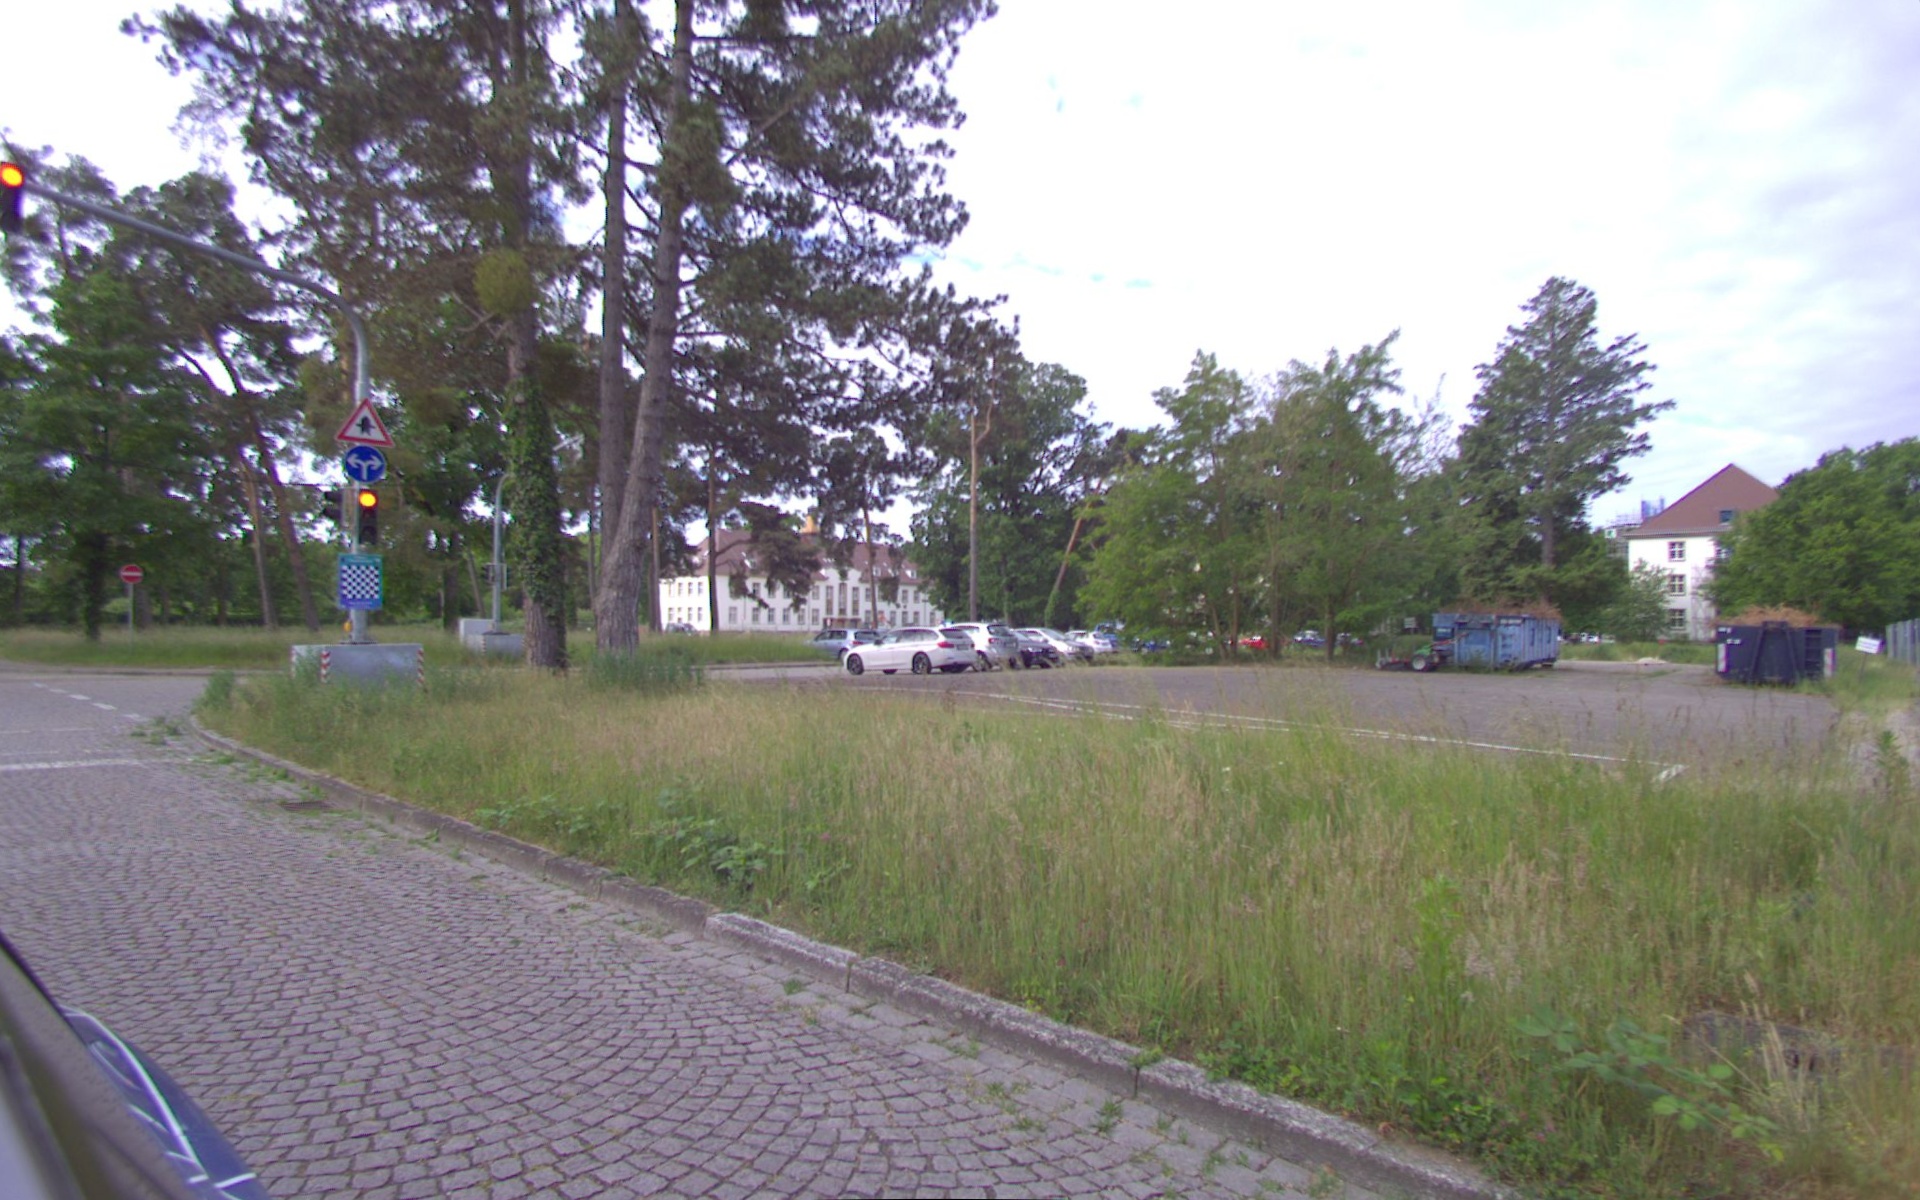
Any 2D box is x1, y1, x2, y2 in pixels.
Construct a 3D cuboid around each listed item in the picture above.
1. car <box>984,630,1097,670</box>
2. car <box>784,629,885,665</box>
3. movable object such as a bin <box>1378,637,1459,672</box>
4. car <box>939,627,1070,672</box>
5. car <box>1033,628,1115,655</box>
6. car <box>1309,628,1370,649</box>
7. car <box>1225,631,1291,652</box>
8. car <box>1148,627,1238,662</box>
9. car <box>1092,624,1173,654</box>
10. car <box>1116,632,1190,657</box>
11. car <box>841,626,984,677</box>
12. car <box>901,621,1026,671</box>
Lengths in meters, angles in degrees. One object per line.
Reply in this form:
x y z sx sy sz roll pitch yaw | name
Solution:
2.958 1.836 37.636 4.033 1.410 1.616 -1 -2 39 | car
-5.490 2.013 44.026 4.398 1.486 1.806 -1 -2 39 | car
13.515 1.586 29.802 1.953 0.976 1.431 -1 -2 34 | movable object such as a bin
1.502 1.675 35.241 4.398 1.486 1.806 -1 -2 39 | car
6.465 2.326 57.752 4.395 1.486 1.807 -1 -2 37 | car
32.507 3.263 86.821 1.802 1.736 4.589 1 -2 -40 | car
22.356 3.102 76.058 4.400 1.486 1.805 -2 -2 41 | car
10.439 1.969 45.428 3.589 1.486 1.658 -1 -2 39 | car
10.376 2.333 61.236 4.580 1.736 1.805 -2 -2 41 | car
12.024 2.735 63.127 4.188 1.486 1.805 -2 -2 41 | car
-1.505 1.537 31.104 4.316 1.436 1.806 -1 -2 39 | car
0.088 1.520 33.001 3.894 1.532 1.653 -4 -4 39 | car
